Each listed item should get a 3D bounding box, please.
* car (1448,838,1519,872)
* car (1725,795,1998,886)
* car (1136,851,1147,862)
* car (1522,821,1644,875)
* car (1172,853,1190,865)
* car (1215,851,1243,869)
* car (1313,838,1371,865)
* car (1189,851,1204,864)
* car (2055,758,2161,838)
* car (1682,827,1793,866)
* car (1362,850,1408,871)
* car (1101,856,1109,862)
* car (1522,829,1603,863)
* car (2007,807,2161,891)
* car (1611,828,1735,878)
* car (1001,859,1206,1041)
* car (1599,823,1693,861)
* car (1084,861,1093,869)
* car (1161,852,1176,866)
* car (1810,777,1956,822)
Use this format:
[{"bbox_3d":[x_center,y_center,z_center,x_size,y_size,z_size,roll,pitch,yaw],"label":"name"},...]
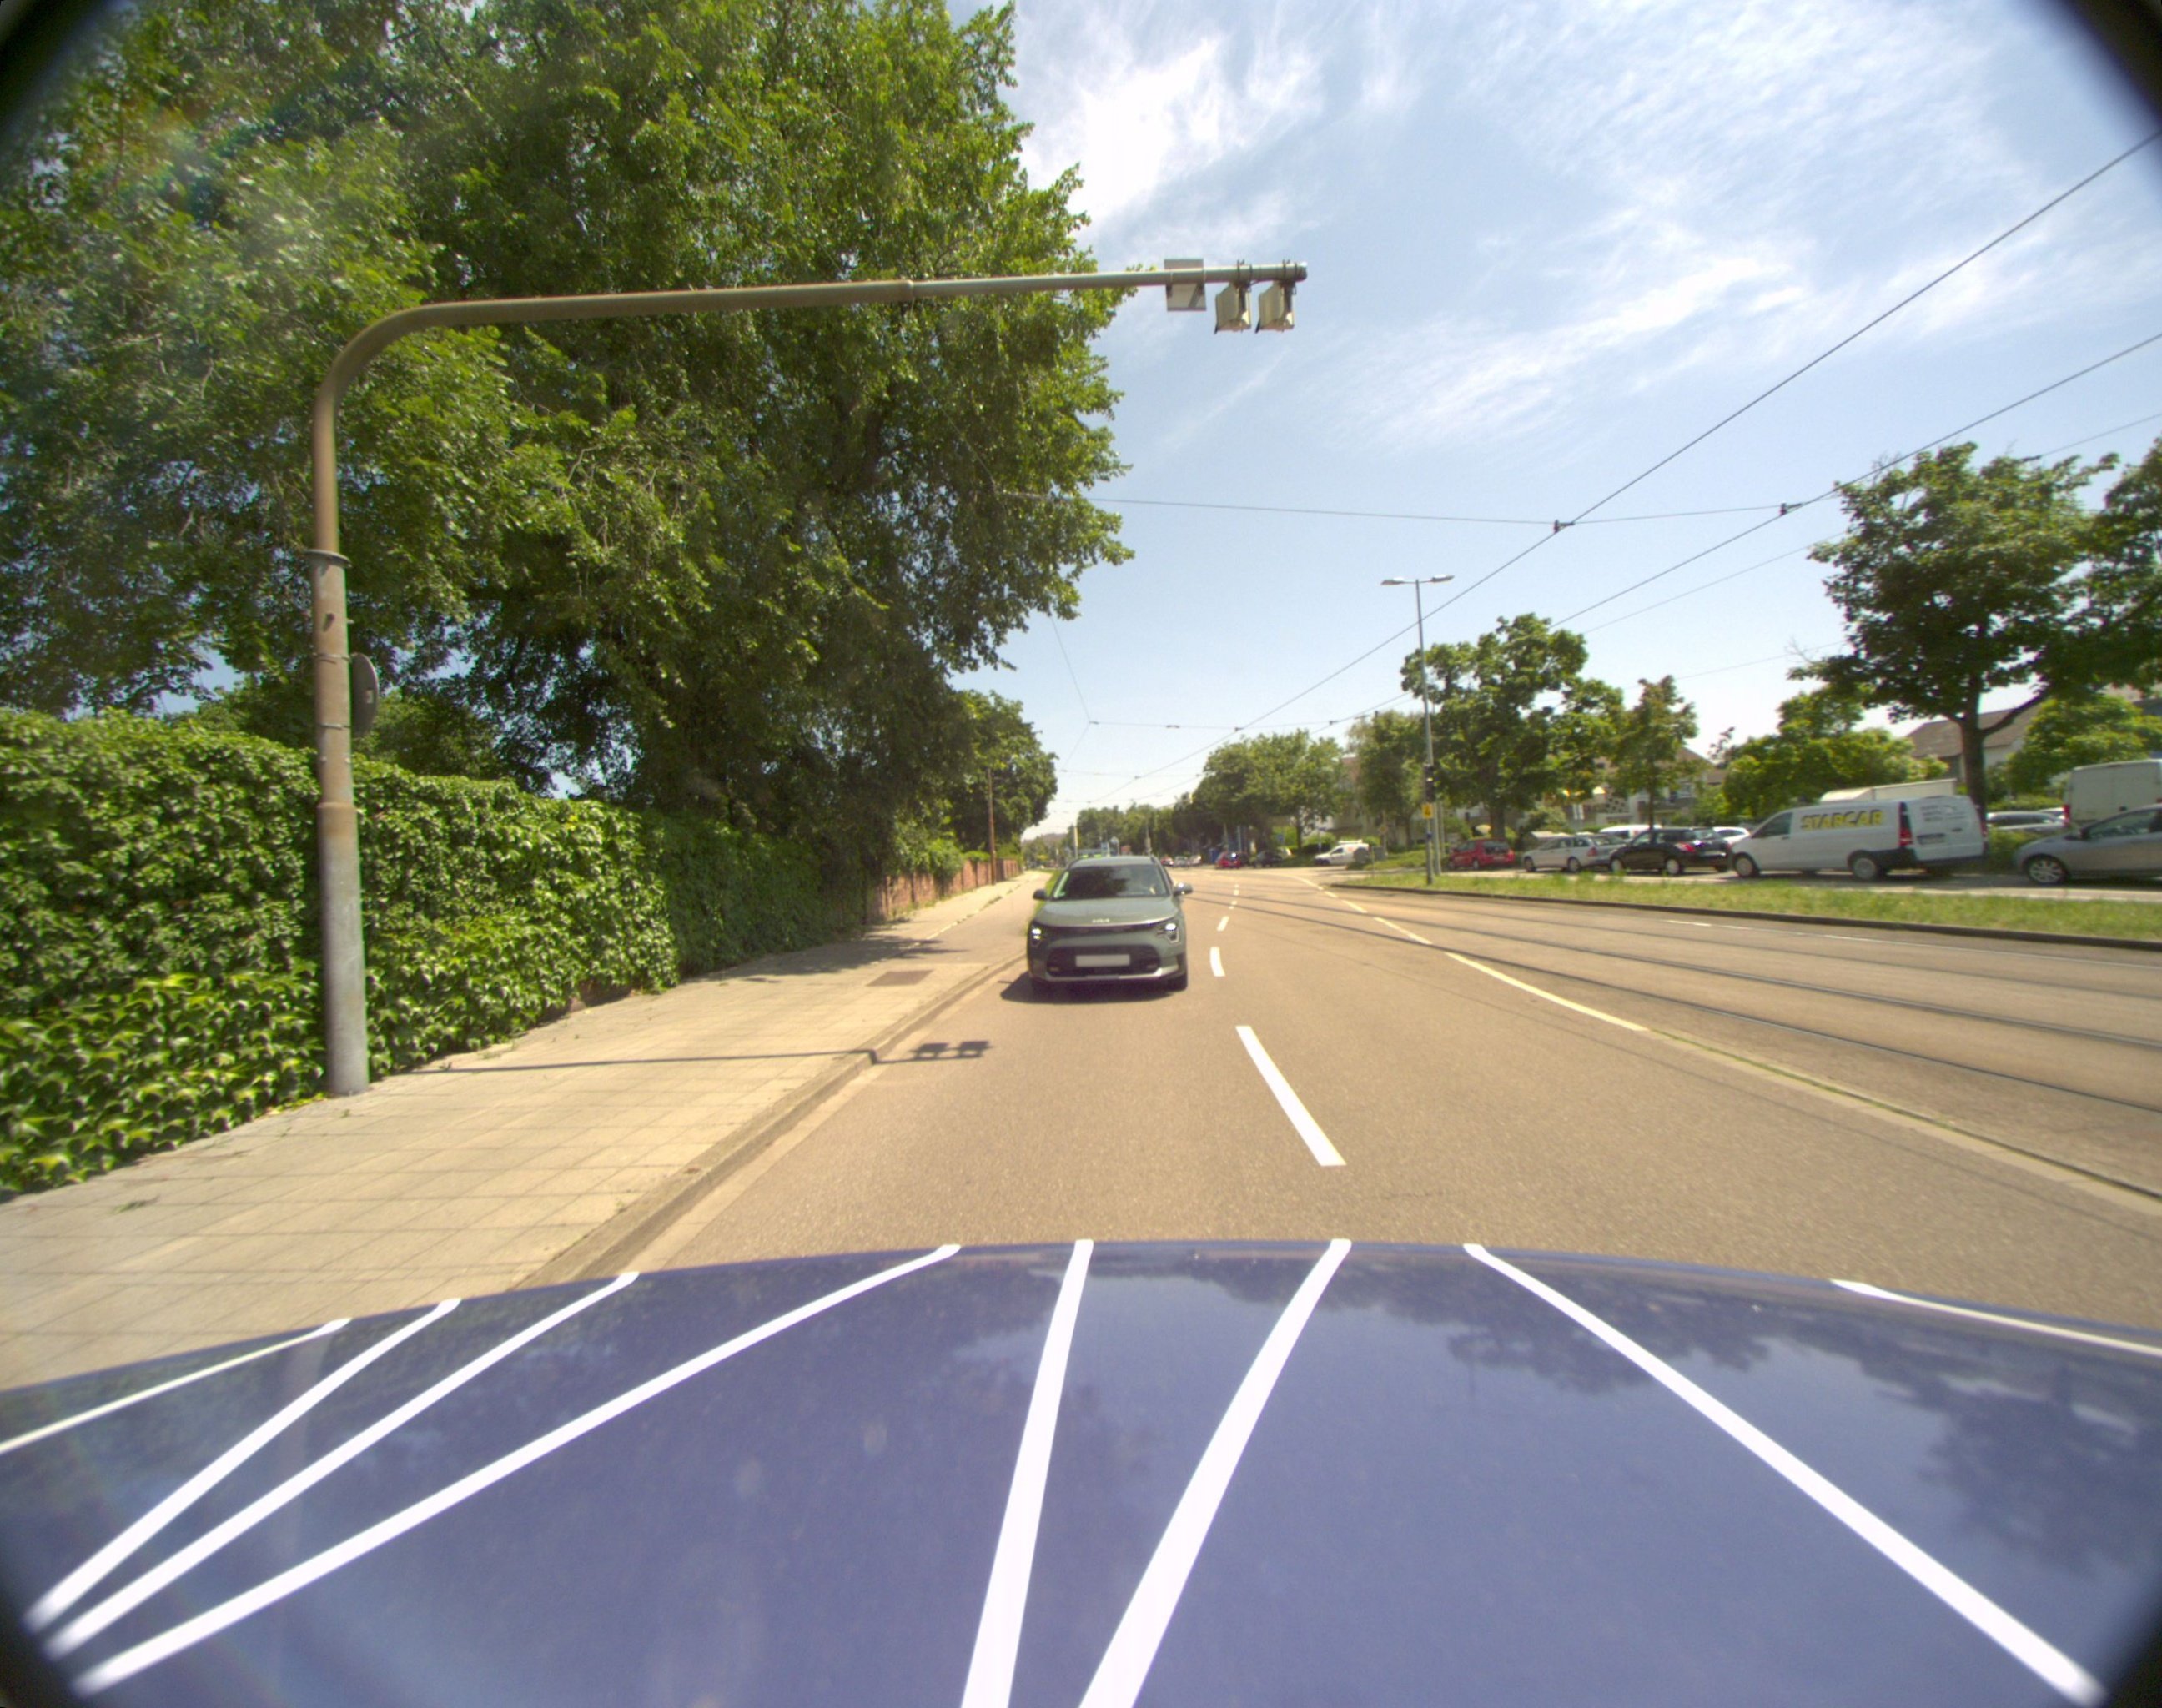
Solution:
[{"bbox_3d":[19.002,0.007,36.018,1.582,1.471,3.423,-2,1,1],"label":"car"},{"bbox_3d":[19.292,-0.328,19.194,1.925,1.937,4.816,-2,1,0],"label":"car"},{"bbox_3d":[10.990,0.457,138.188,1.780,1.907,3.754,-2,1,1],"label":"car"},{"bbox_3d":[19.290,-0.229,29.468,1.635,1.882,4.496,-2,1,-1],"label":"car"},{"bbox_3d":[12.596,0.624,95.605,1.780,1.310,3.754,-2,1,1],"label":"car"},{"bbox_3d":[13.421,0.499,68.943,1.820,1.471,3.423,-2,1,1],"label":"car"},{"bbox_3d":[21.035,-0.216,61.298,4.206,1.979,1.823,-2,1,13],"label":"car"},{"bbox_3d":[17.147,0.508,112.919,1.703,1.842,3.982,-2,1,1],"label":"car"},{"bbox_3d":[29.435,-1.514,19.793,5.435,1.944,2.029,-2,1,1],"label":"car"},{"bbox_3d":[31.056,-0.360,35.983,3.999,1.675,1.715,-2,1,-7],"label":"car"},{"bbox_3d":[19.170,0.392,48.026,1.582,1.152,3.423,-2,1,1],"label":"car"},{"bbox_3d":[5.955,1.221,189.093,1.759,1.543,3.999,-3,0,-3],"label":"car"},{"bbox_3d":[29.341,-0.473,46.334,3.999,1.863,1.715,-2,1,-7],"label":"car"},{"bbox_3d":[19.492,-0.123,13.470,1.767,1.456,3.608,-2,1,0],"label":"car"},{"bbox_3d":[19.144,-0.044,24.732,1.429,1.470,3.262,-2,1,-1],"label":"car"},{"bbox_3d":[0.261,0.907,9.198,1.823,1.577,4.288,-3,0,1],"label":"car"},{"bbox_3d":[30.732,-0.659,41.389,3.999,1.863,1.715,-2,1,-7],"label":"car"},{"bbox_3d":[2.092,3.065,214.650,1.999,2.002,3.997,-2,1,-6],"label":"car"},{"bbox_3d":[12.849,0.675,112.214,1.780,1.907,3.754,-2,1,1],"label":"car"},{"bbox_3d":[42.636,-2.860,40.450,5.745,2.051,2.147,-2,1,-4],"label":"car"}]
